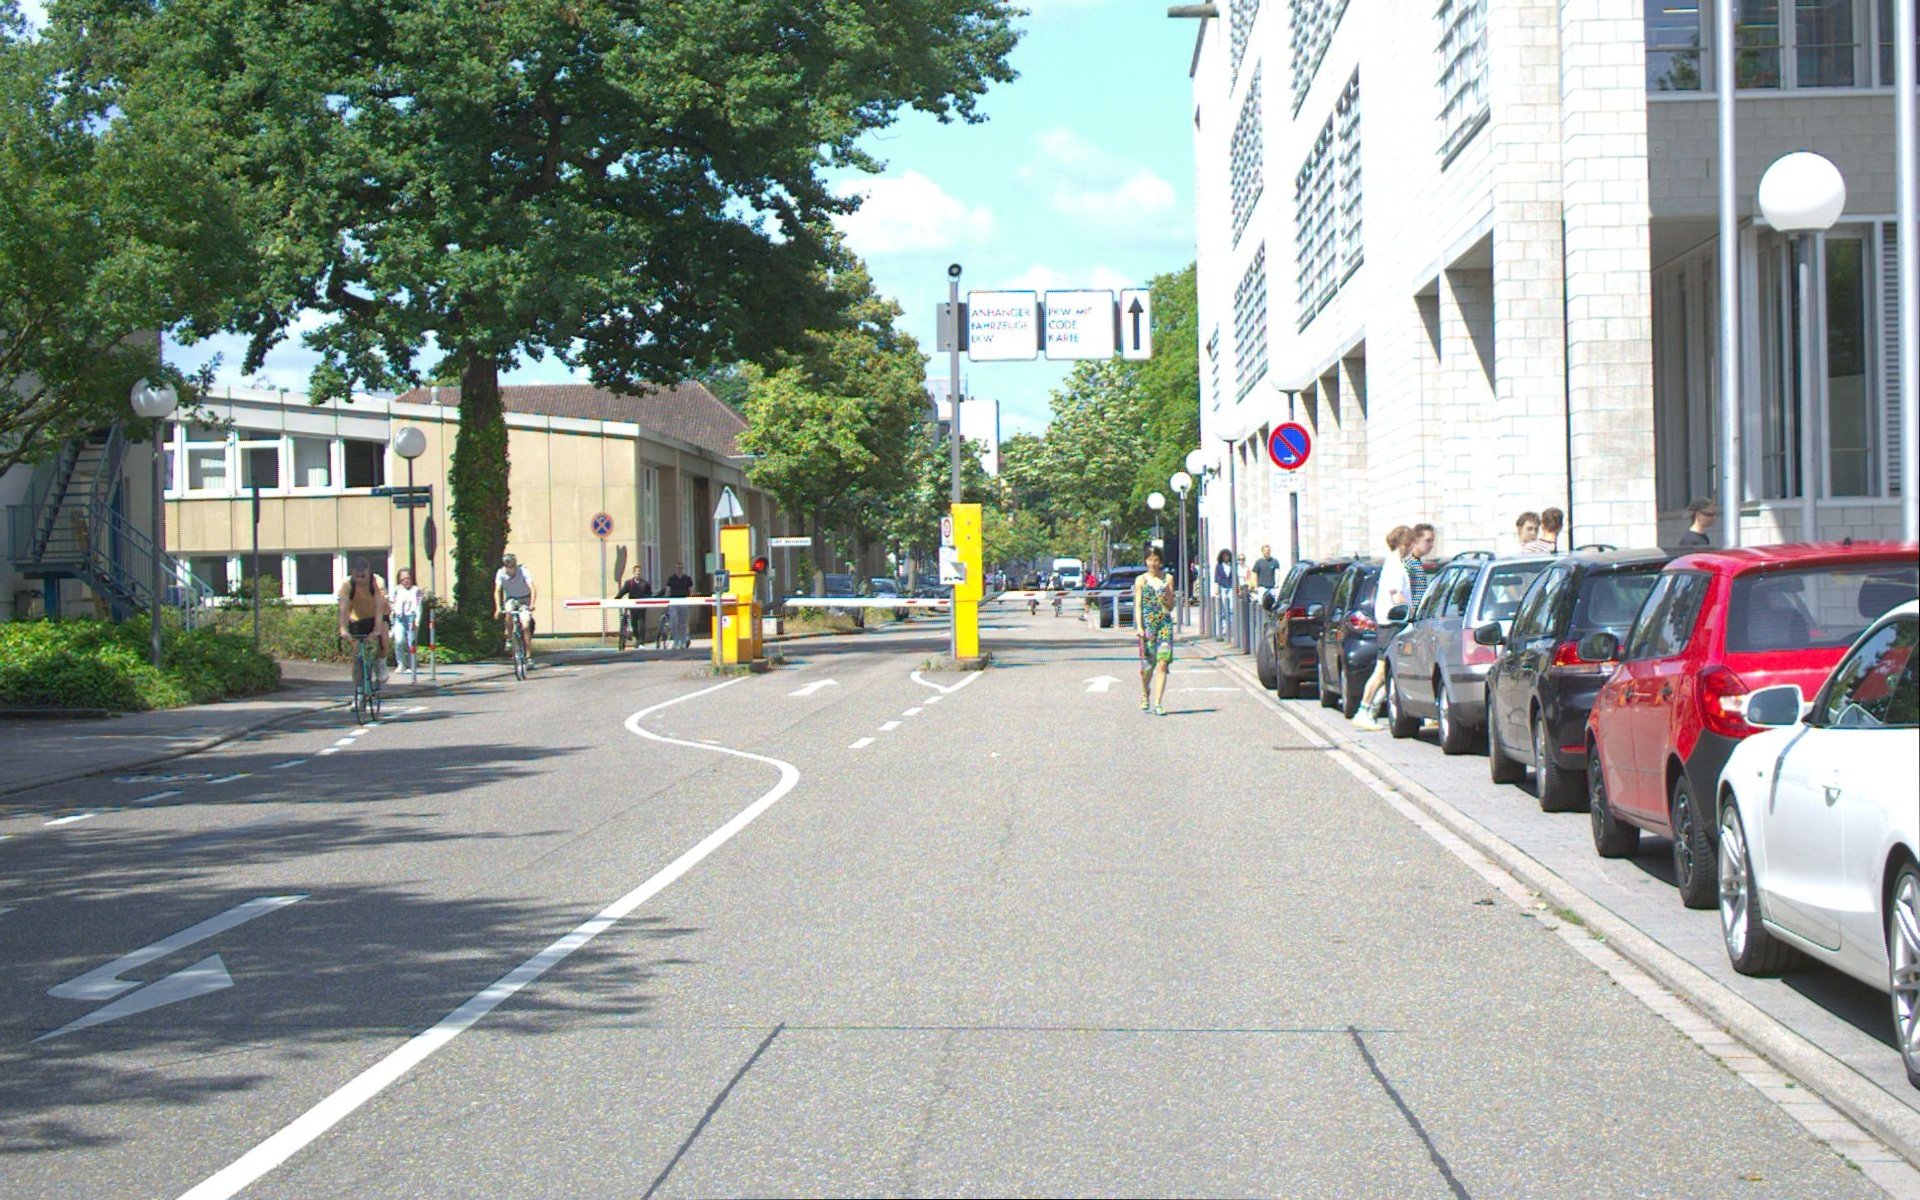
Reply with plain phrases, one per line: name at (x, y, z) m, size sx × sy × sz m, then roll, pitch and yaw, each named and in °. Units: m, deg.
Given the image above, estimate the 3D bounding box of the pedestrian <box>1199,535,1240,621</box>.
pedestrian at (5.480, -0.467, 72.659) m, size 0.695 × 1.774 × 1.085 m, roll -3°, pitch 1°, yaw 0°

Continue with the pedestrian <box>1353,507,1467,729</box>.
pedestrian at (3.959, 0.157, 30.226) m, size 0.783 × 1.919 × 0.733 m, roll -1°, pitch 0°, yaw 24°

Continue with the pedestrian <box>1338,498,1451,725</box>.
pedestrian at (3.731, 0.096, 29.530) m, size 0.784 × 1.919 × 0.592 m, roll -1°, pitch 0°, yaw 24°

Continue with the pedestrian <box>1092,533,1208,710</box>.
pedestrian at (1.883, 0.209, 34.125) m, size 0.623 × 1.711 × 1.040 m, roll -2°, pitch 1°, yaw -30°

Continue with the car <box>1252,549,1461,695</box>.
car at (4.286, 0.203, 37.790) m, size 1.866 × 1.459 × 4.520 m, roll -1°, pitch 1°, yaw 2°

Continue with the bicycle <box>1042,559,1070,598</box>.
bicycle at (3.480, -0.779, 125.084) m, size 0.987 × 1.311 × 2.964 m, roll -2°, pitch -1°, yaw 1°

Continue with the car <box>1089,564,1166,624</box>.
car at (4.479, -0.178, 92.332) m, size 1.994 × 1.540 × 4.211 m, roll -2°, pitch 0°, yaw 2°

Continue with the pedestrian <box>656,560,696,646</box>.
pedestrian at (-6.086, 0.056, 73.711) m, size 0.705 × 1.803 × 1.001 m, roll -2°, pitch 1°, yaw 1°

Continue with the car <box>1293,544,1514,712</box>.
car at (4.226, 0.237, 33.252) m, size 1.614 × 1.491 × 4.006 m, roll -1°, pitch 1°, yaw 0°

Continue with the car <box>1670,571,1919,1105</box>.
car at (3.483, 0.615, 10.621) m, size 1.718 × 1.395 × 4.438 m, roll -4°, pitch 0°, yaw 2°

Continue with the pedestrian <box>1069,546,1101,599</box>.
pedestrian at (3.914, -0.864, 107.595) m, size 0.894 × 1.627 × 0.887 m, roll -1°, pitch 0°, yaw 7°

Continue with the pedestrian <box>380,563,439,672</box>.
pedestrian at (-8.339, 0.257, 52.134) m, size 0.713 × 1.621 × 0.883 m, roll -1°, pitch 0°, yaw 1°

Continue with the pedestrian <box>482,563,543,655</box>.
pedestrian at (-9.506, 0.191, 73.051) m, size 0.886 × 1.919 × 1.005 m, roll -1°, pitch 0°, yaw 23°

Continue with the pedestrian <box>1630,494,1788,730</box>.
pedestrian at (6.248, 0.092, 28.741) m, size 1.095 × 1.913 × 1.021 m, roll -1°, pitch 0°, yaw 3°

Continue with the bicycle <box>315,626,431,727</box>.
bicycle at (-6.216, 0.796, 36.511) m, size 0.793 × 0.985 × 2.209 m, roll -2°, pitch 0°, yaw 1°

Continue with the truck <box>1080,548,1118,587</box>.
truck at (7.957, -1.851, 197.028) m, size 1.993 × 2.007 × 4.000 m, roll -2°, pitch -1°, yaw 0°

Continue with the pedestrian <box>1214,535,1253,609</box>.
pedestrian at (6.201, -0.639, 77.895) m, size 0.741 × 1.627 × 0.887 m, roll -3°, pitch 1°, yaw 0°

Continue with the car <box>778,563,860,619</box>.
car at (-4.069, -0.281, 99.776) m, size 1.994 × 1.540 × 4.211 m, roll -1°, pitch 1°, yaw 2°

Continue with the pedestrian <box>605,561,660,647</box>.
pedestrian at (-7.045, 0.080, 73.988) m, size 1.056 × 1.809 × 0.806 m, roll -2°, pitch 1°, yaw 1°

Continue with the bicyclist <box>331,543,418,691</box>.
bicyclist at (-6.231, 0.177, 36.625) m, size 0.692 × 1.543 × 1.018 m, roll -2°, pitch 0°, yaw 1°

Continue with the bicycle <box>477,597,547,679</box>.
bicycle at (-6.695, 0.558, 51.515) m, size 0.692 × 1.167 × 2.209 m, roll -2°, pitch 0°, yaw 1°

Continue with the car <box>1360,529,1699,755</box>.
car at (4.331, 0.275, 26.808) m, size 1.719 × 1.524 × 4.567 m, roll -3°, pitch 1°, yaw -1°

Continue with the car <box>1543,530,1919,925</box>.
car at (3.791, 0.473, 15.801) m, size 1.614 × 1.491 × 4.147 m, roll -4°, pitch 1°, yaw 3°

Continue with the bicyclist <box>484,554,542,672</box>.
bicyclist at (-6.678, 0.189, 51.399) m, size 0.692 × 1.731 × 0.919 m, roll -2°, pitch 0°, yaw 1°

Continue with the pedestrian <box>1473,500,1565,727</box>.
pedestrian at (4.812, 0.111, 29.648) m, size 0.724 × 1.919 × 0.751 m, roll -1°, pitch 0°, yaw 8°

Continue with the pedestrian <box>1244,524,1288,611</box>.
pedestrian at (6.462, -0.689, 72.559) m, size 0.767 × 1.774 × 0.910 m, roll -3°, pitch 1°, yaw 0°

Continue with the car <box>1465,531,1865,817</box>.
car at (4.178, 0.388, 20.954) m, size 1.719 × 1.524 × 4.000 m, roll -2°, pitch 1°, yaw 2°

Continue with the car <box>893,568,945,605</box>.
car at (-1.776, -0.610, 149.811) m, size 1.994 × 1.540 × 4.211 m, roll -1°, pitch 1°, yaw 2°
